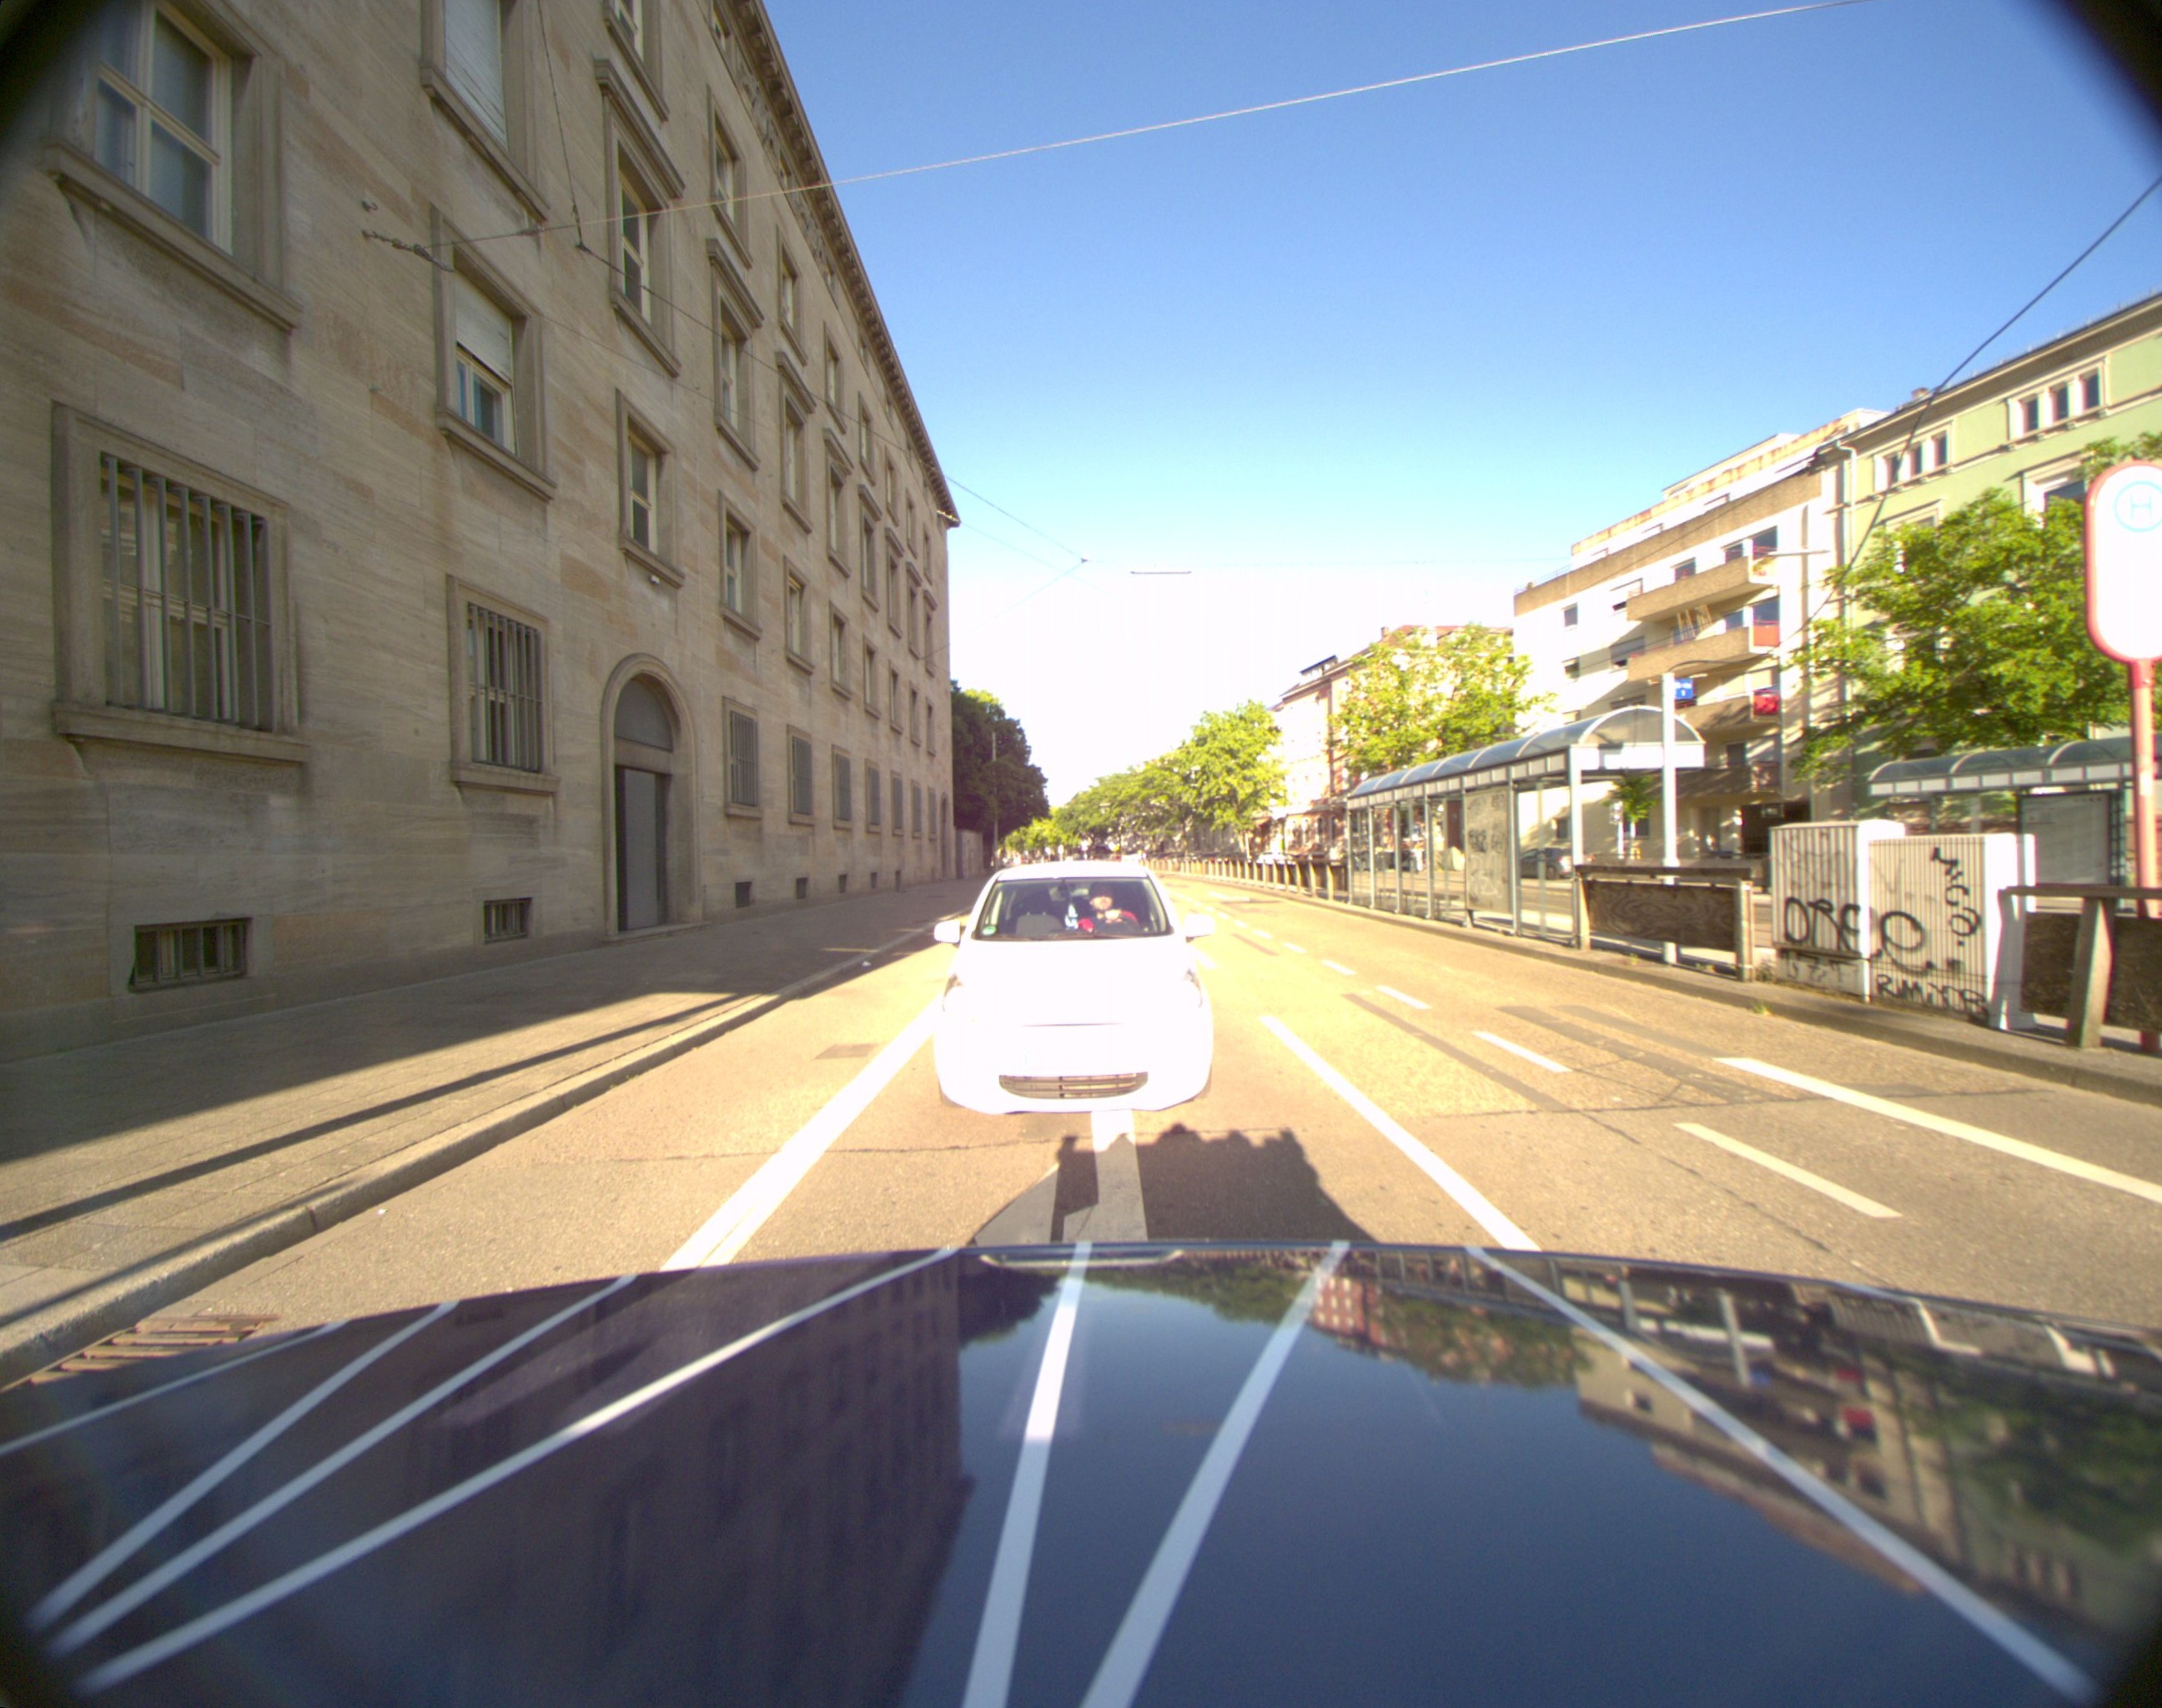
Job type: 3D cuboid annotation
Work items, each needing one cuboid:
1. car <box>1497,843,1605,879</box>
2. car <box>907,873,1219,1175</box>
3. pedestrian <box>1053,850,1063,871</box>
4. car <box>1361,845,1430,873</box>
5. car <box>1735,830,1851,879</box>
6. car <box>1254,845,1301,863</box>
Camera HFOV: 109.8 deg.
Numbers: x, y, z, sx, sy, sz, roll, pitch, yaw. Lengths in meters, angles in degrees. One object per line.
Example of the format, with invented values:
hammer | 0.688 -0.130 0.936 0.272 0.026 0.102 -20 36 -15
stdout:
car | 20.943 0.304 34.060 2.000 1.521 3.997 1 0 -8
car | -0.071 0.940 5.806 1.606 1.455 3.621 -1 0 1
pedestrian | -1.860 0.540 60.955 0.686 1.673 0.928 -1 1 -7
car | 18.364 0.280 44.610 2.000 1.521 3.997 -1 0 -8
car | 31.214 0.009 33.343 4.001 2.002 1.798 -1 1 -13
car | 16.397 0.005 63.342 3.648 1.342 1.578 -2 1 -29
